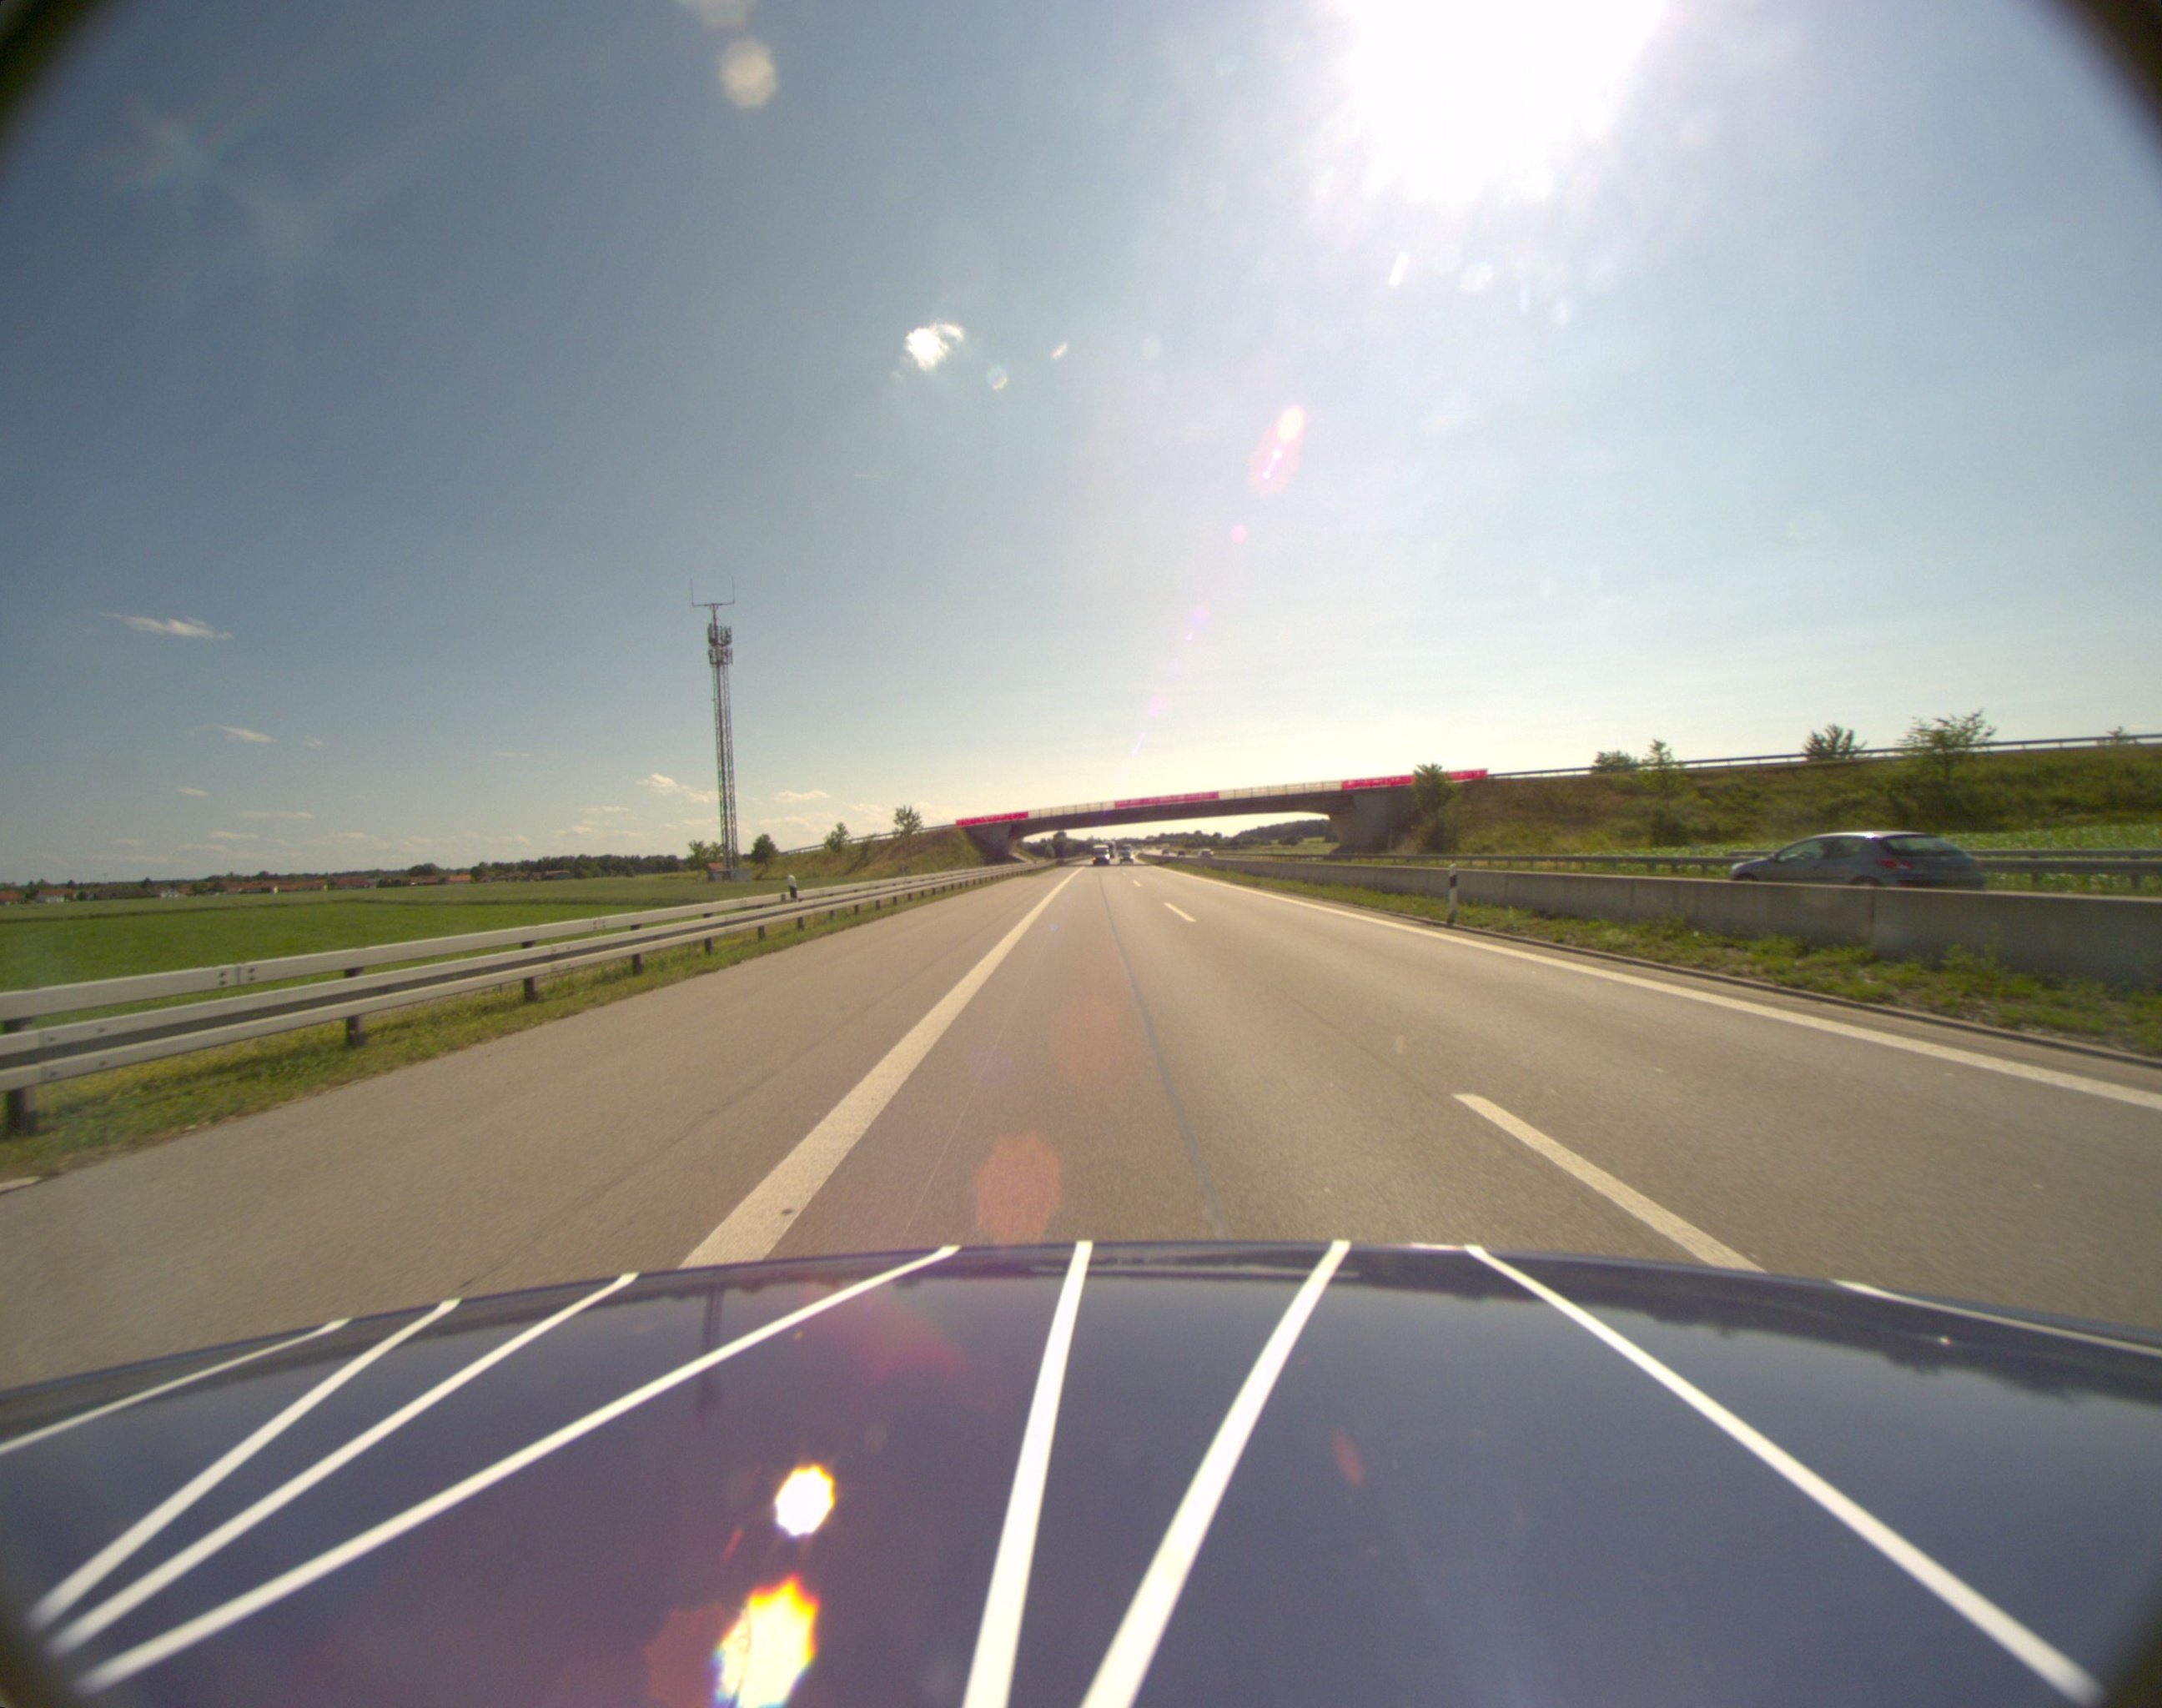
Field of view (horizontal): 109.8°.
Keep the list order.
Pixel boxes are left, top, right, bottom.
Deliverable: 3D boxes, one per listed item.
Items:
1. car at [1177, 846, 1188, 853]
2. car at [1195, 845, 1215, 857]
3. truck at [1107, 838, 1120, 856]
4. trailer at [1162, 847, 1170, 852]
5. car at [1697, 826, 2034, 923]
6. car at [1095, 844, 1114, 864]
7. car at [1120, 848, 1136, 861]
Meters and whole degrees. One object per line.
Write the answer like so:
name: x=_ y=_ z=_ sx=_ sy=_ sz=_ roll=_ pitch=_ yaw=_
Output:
car: x=21.805 y=-0.962 z=163.581 sx=1.859 sy=1.452 sz=4.195 roll=-2 pitch=1 yaw=2
car: x=17.282 y=-0.472 z=105.865 sx=1.998 sy=1.569 sz=4.896 roll=-3 pitch=1 yaw=2
truck: x=7.519 y=-1.656 z=175.443 sx=2.762 sy=3.792 sz=7.517 roll=-3 pitch=1 yaw=1
trailer: x=24.085 y=-1.177 z=215.974 sx=1.998 sy=1.250 sz=4.262 roll=-3 pitch=0 yaw=2
car: x=14.918 y=0.334 z=14.940 sx=1.864 sy=1.505 sz=4.585 roll=-4 pitch=0 yaw=1
car: x=2.640 y=-0.017 z=86.881 sx=2.030 sy=2.225 sz=4.818 roll=-2 pitch=1 yaw=1
car: x=6.336 y=0.034 z=103.713 sx=2.030 sy=1.600 sz=4.818 roll=-1 pitch=0 yaw=2
